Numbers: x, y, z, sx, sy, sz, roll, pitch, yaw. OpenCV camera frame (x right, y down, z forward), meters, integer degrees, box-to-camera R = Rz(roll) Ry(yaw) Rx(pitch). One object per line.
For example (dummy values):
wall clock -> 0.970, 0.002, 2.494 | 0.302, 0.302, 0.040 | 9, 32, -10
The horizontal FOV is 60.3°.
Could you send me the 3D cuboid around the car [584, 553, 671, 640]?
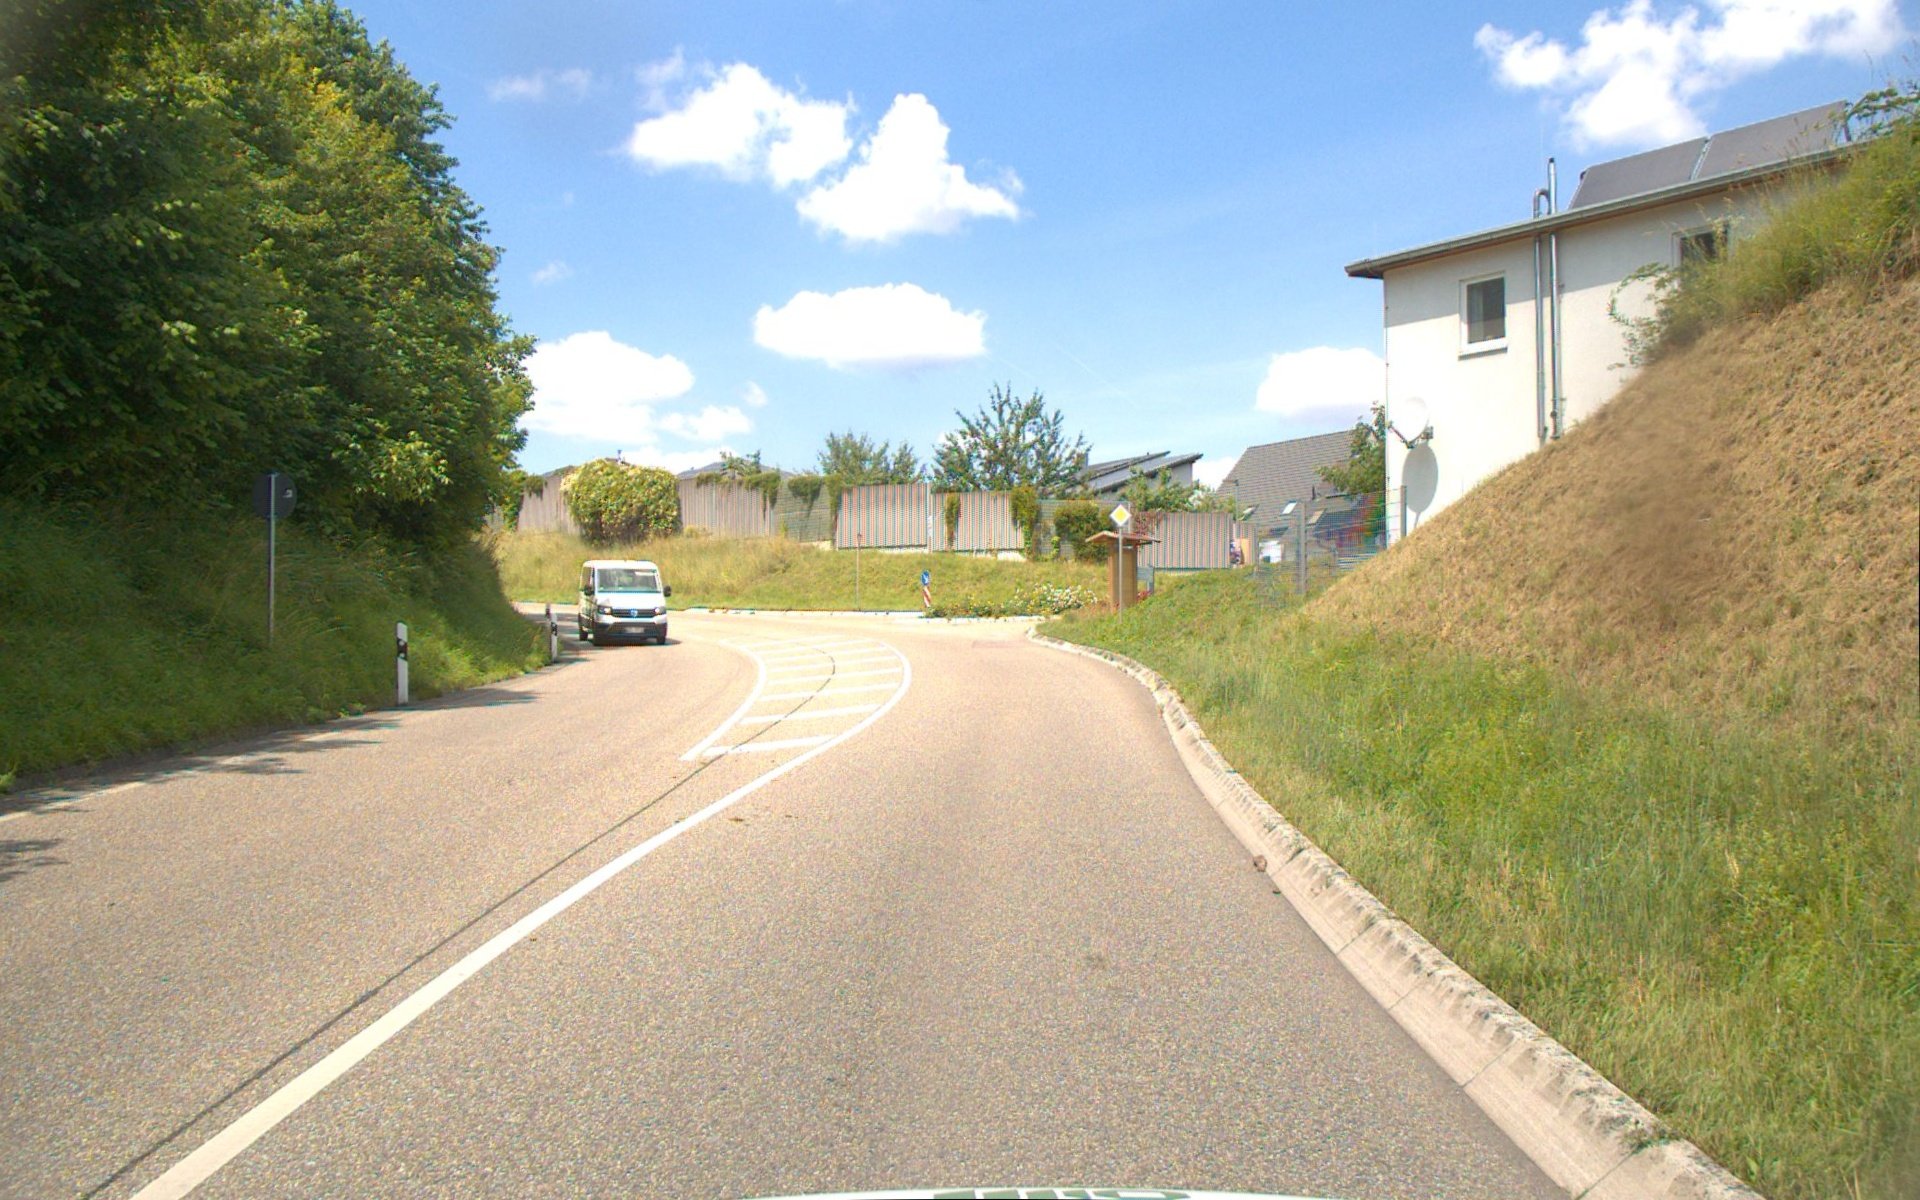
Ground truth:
car -> -9.567, -0.089, 47.272 | 2.051, 2.330, 5.922 | 0, 0, -15
